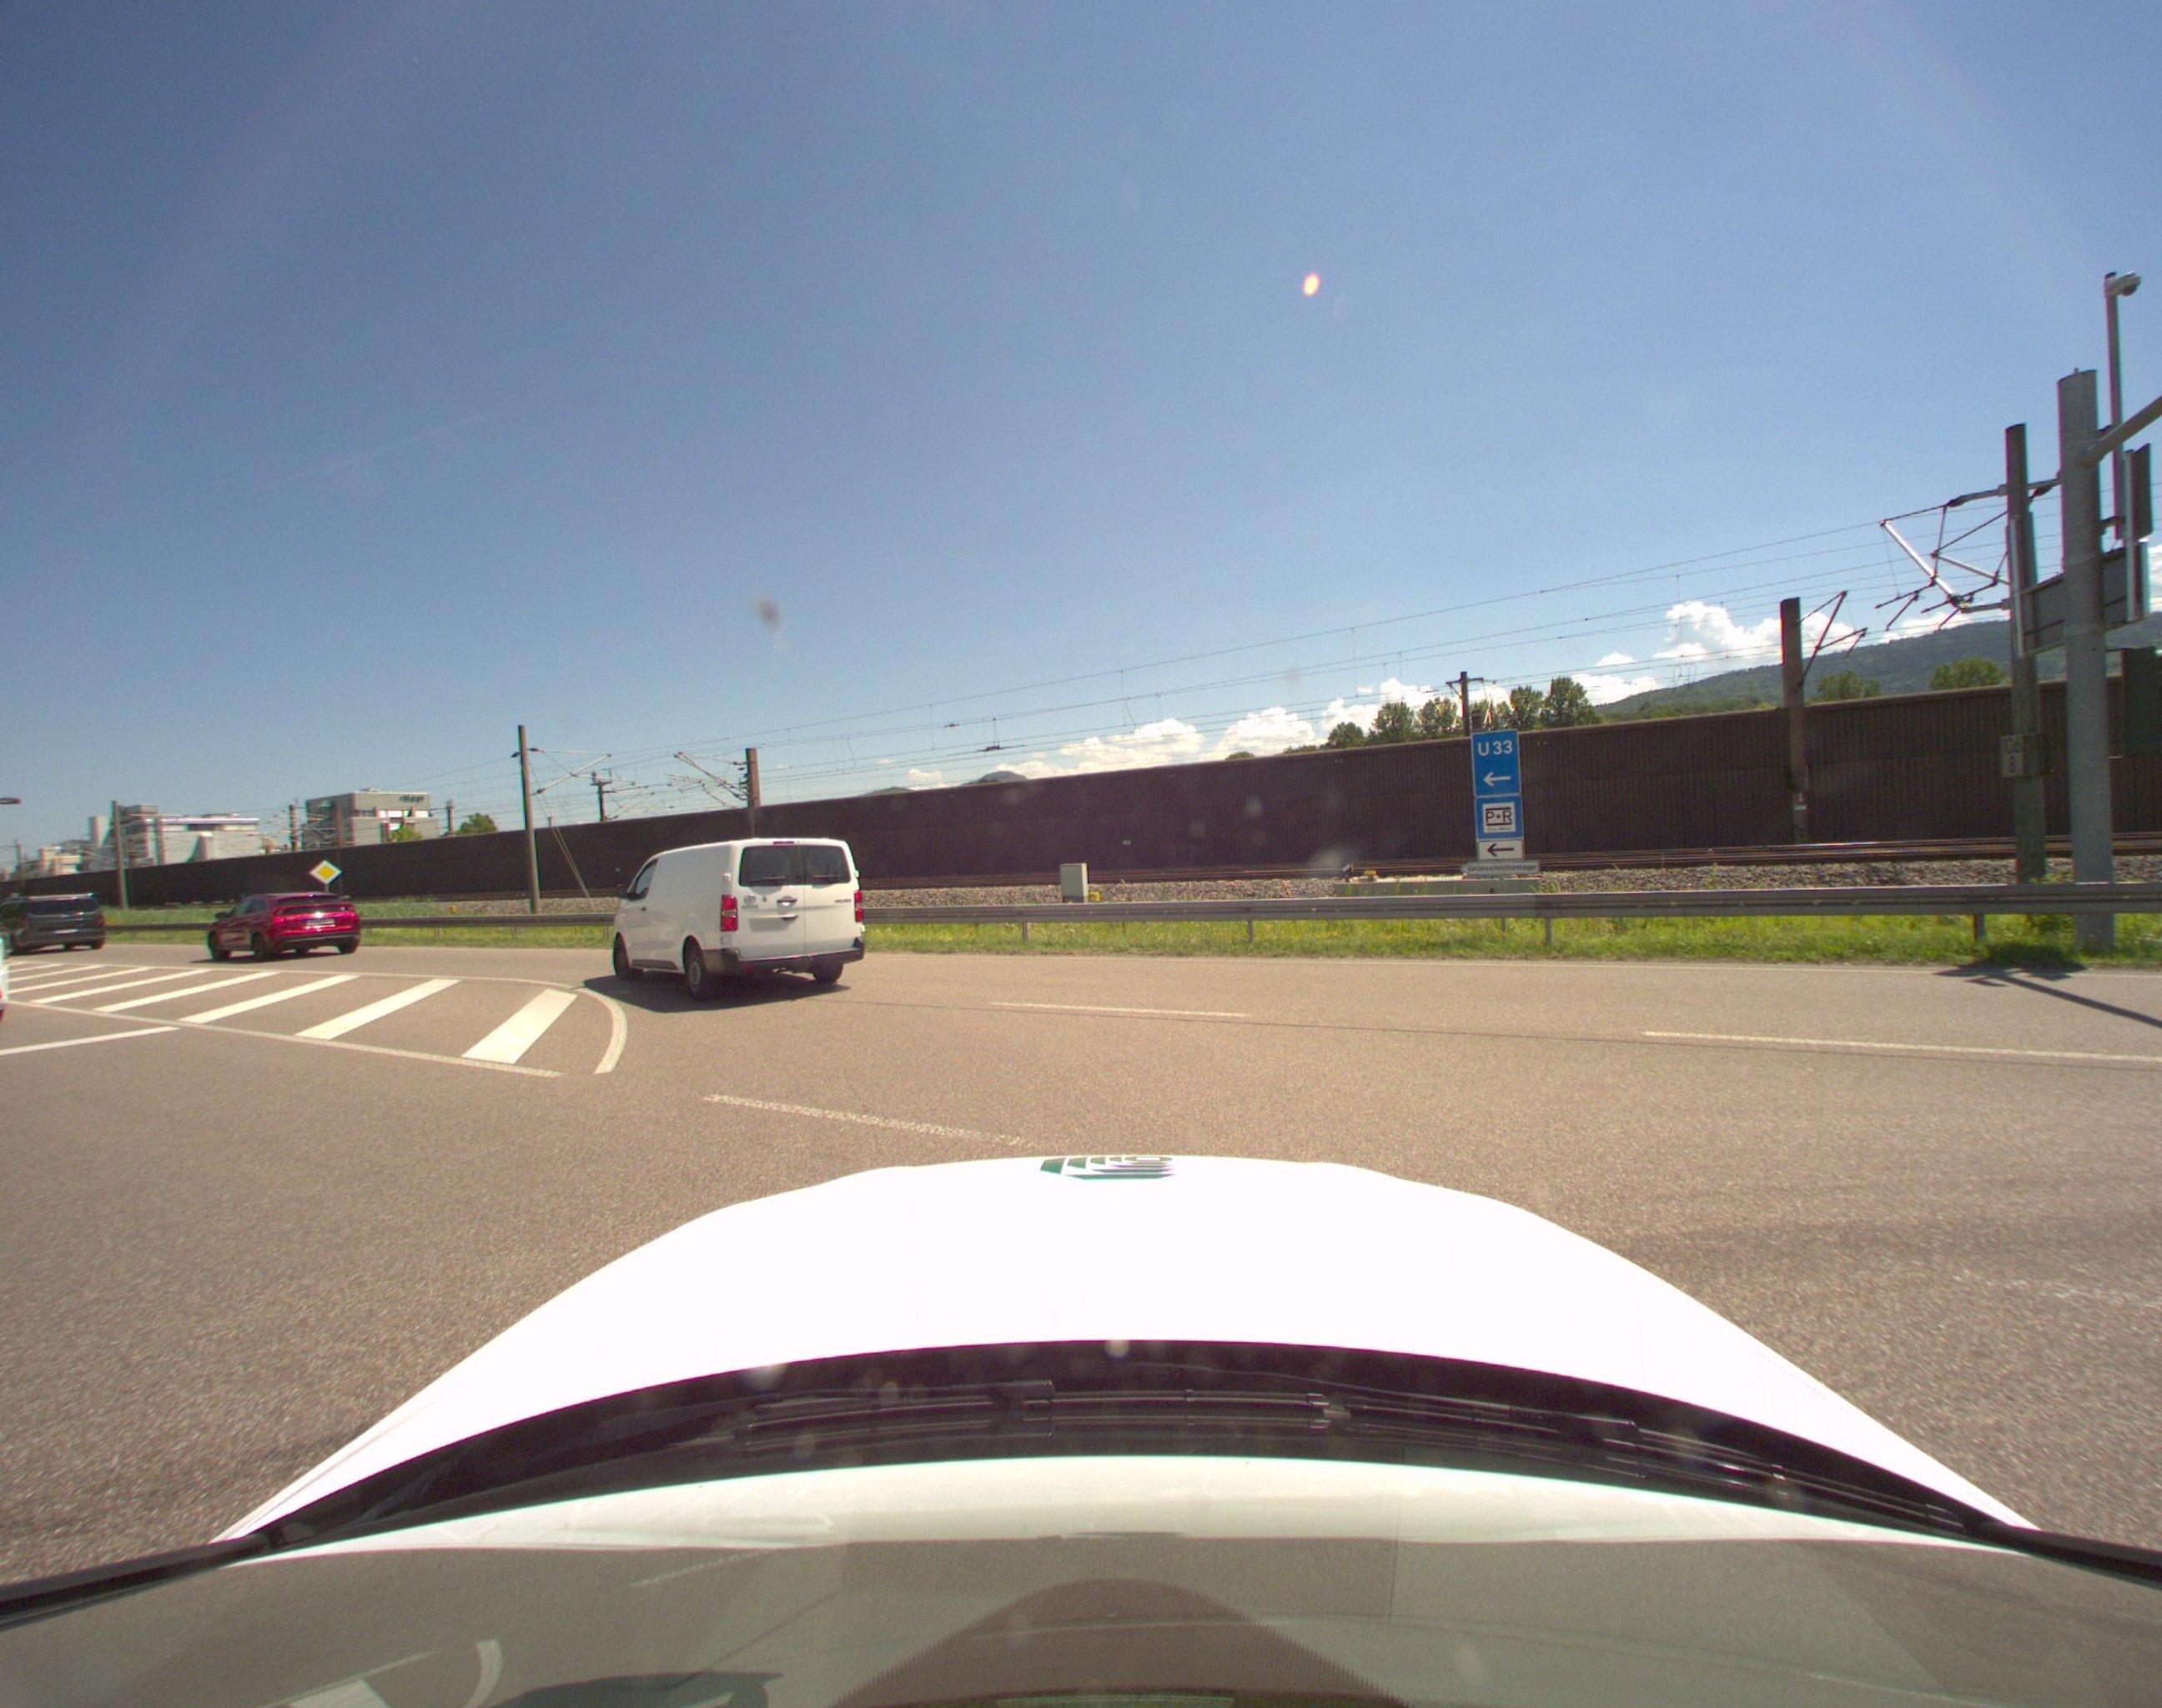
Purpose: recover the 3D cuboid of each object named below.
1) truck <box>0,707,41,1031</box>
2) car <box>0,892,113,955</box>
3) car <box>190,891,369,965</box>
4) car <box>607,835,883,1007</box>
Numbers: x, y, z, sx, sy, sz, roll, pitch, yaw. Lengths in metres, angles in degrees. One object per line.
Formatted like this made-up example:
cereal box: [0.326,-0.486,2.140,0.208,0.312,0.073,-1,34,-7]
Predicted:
truck: [-16.529,0.331,10.605,5.751,4.045,2.715,-3,-1,29]
car: [-37.662,2.499,29.793,4.721,2.022,2.026,-3,0,29]
car: [-20.616,1.888,20.952,4.090,1.649,1.923,-3,-1,25]
car: [-4.896,0.842,11.417,1.963,1.881,4.821,-2,-2,-43]
